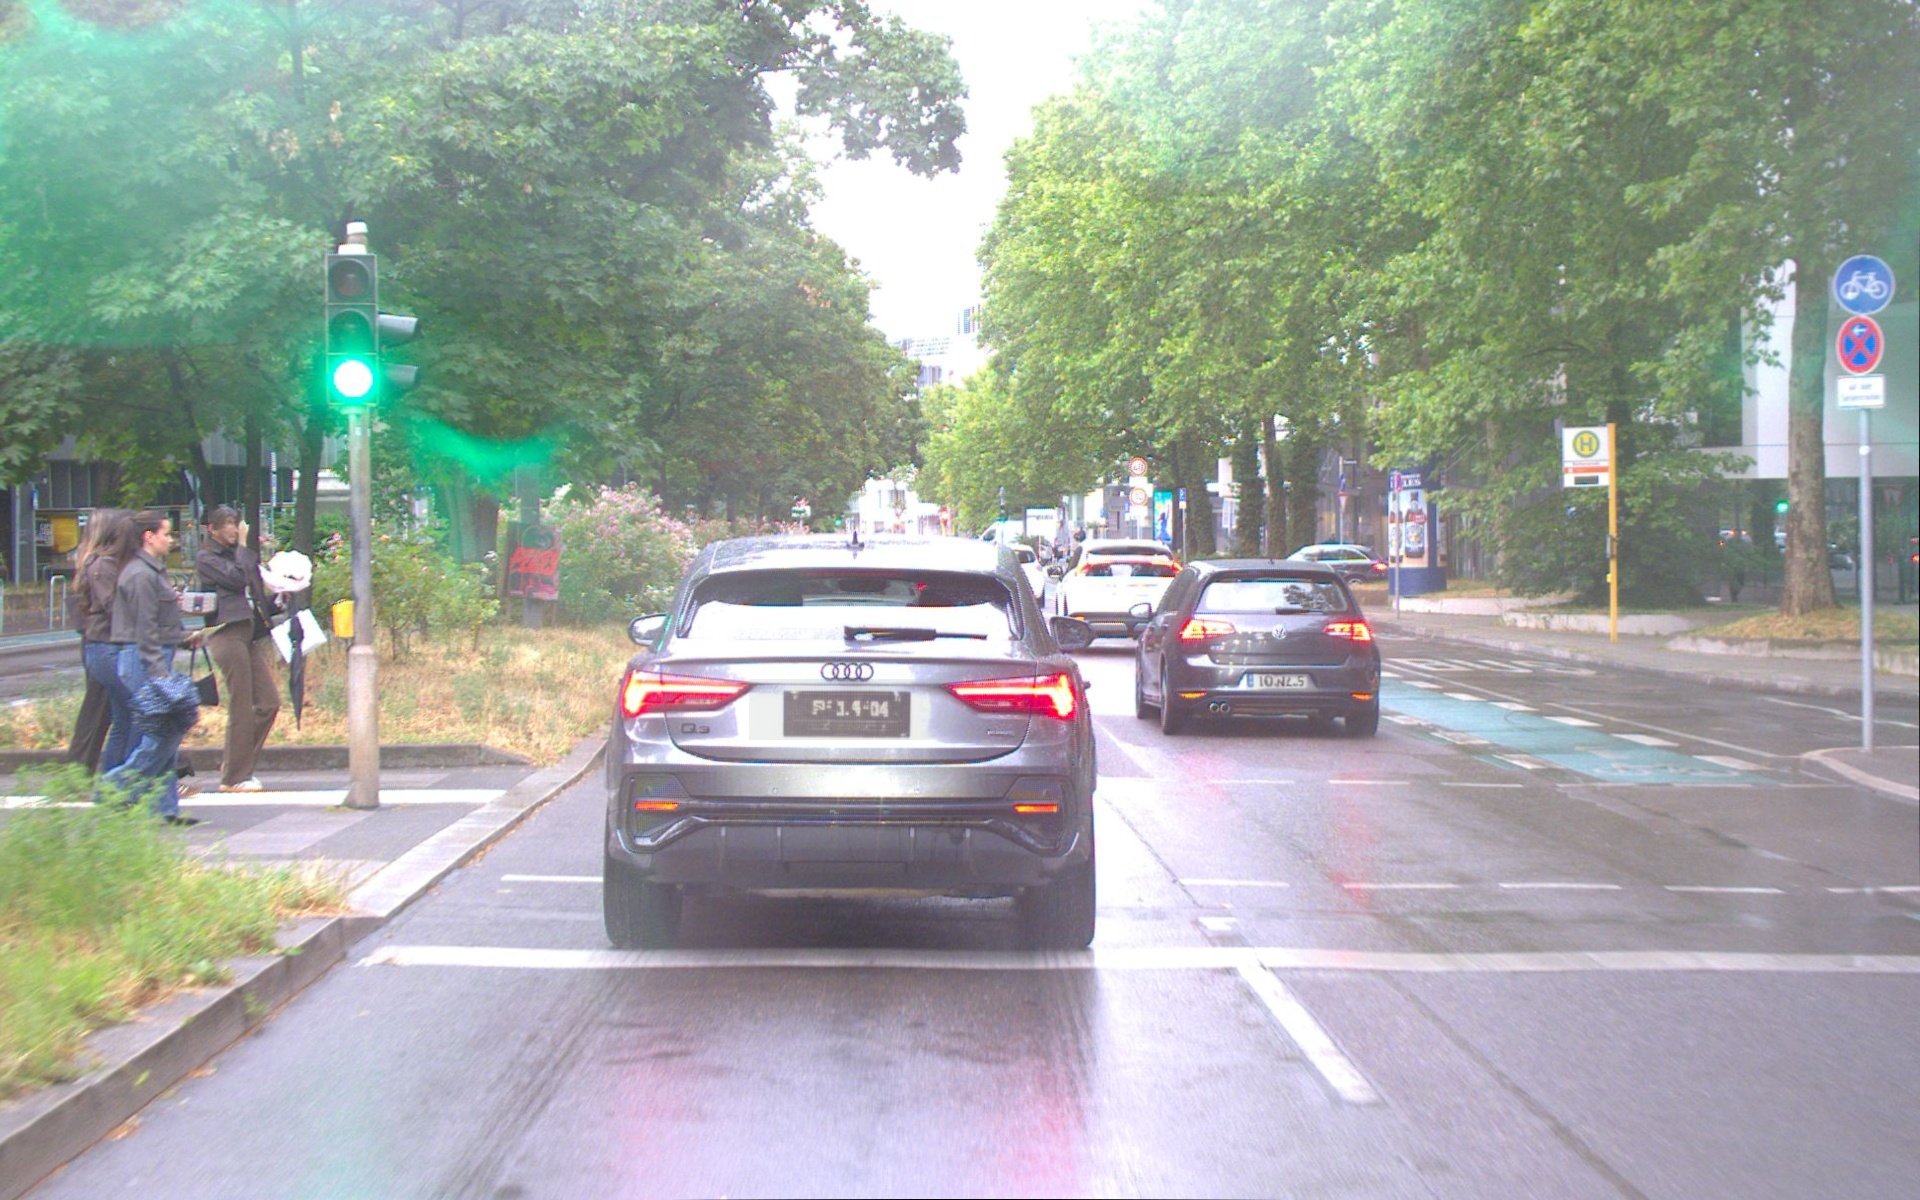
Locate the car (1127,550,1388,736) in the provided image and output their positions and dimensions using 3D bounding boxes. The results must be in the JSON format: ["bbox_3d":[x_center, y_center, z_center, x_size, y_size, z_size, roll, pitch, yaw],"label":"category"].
[{"bbox_3d":[2.444,0.313,29.086,1.765,1.408,4.000,-1,1,-1],"label":"car"}]

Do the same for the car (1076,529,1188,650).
[{"bbox_3d":[2.483,-0.179,50.006,1.433,1.679,2.979,-1,1,-1],"label":"car"}]

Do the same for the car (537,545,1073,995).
[{"bbox_3d":[-0.524,0.555,14.211,1.863,1.527,4.527,0,1,0],"label":"car"}]

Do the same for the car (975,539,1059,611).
[{"bbox_3d":[1.414,-0.653,86.578,1.993,1.744,4.000,0,1,-1],"label":"car"}]

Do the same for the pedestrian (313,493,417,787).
[{"bbox_3d":[-3.467,0.226,20.029,0.573,1.692,0.404,0,1,-13],"label":"pedestrian"}]

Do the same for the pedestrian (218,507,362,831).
[{"bbox_3d":[-3.461,0.340,17.743,0.611,1.636,0.605,0,1,-23],"label":"pedestrian"}]

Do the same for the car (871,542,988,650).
[{"bbox_3d":[-0.487,-0.096,52.828,1.721,1.572,3.962,0,1,-1],"label":"car"}]

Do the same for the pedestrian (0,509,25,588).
[{"bbox_3d":[-24.461,-1.318,87.990,0.880,2.007,0.636,0,1,-1],"label":"pedestrian"}]
